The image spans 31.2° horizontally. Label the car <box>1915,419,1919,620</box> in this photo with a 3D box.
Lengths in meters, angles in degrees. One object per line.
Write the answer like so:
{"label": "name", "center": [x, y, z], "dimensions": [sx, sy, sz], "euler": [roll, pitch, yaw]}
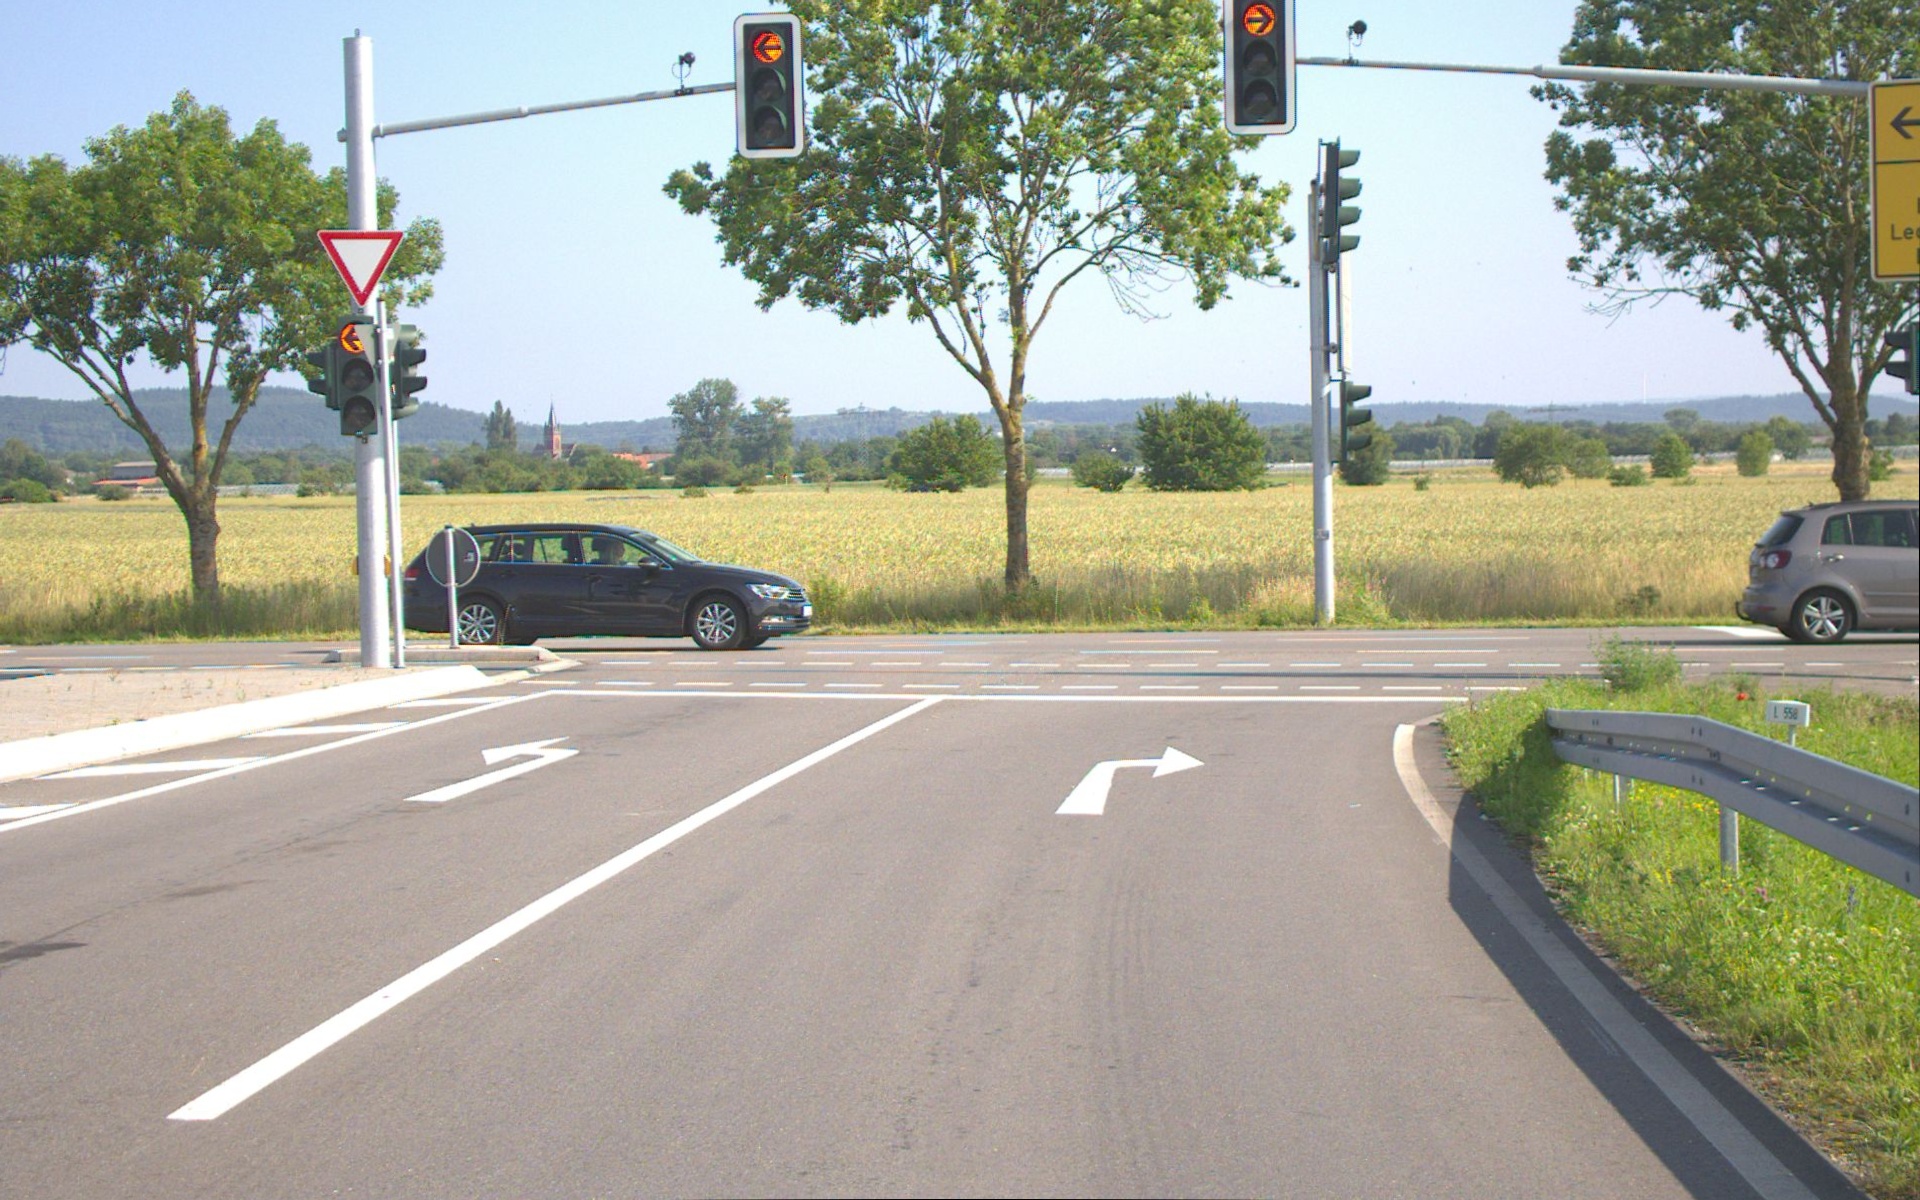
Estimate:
{"label": "car", "center": [14.752, -0.944, 41.426], "dimensions": [5.958, 2.484, 2.000], "euler": [1, 1, 5]}

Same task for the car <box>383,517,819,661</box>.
{"label": "car", "center": [-4.092, -0.143, 39.643], "dimensions": [4.673, 1.513, 1.922], "euler": [-1, 3, 6]}

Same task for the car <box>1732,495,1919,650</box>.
{"label": "car", "center": [10.702, -0.302, 38.194], "dimensions": [3.956, 1.662, 1.763], "euler": [1, 1, 7]}
